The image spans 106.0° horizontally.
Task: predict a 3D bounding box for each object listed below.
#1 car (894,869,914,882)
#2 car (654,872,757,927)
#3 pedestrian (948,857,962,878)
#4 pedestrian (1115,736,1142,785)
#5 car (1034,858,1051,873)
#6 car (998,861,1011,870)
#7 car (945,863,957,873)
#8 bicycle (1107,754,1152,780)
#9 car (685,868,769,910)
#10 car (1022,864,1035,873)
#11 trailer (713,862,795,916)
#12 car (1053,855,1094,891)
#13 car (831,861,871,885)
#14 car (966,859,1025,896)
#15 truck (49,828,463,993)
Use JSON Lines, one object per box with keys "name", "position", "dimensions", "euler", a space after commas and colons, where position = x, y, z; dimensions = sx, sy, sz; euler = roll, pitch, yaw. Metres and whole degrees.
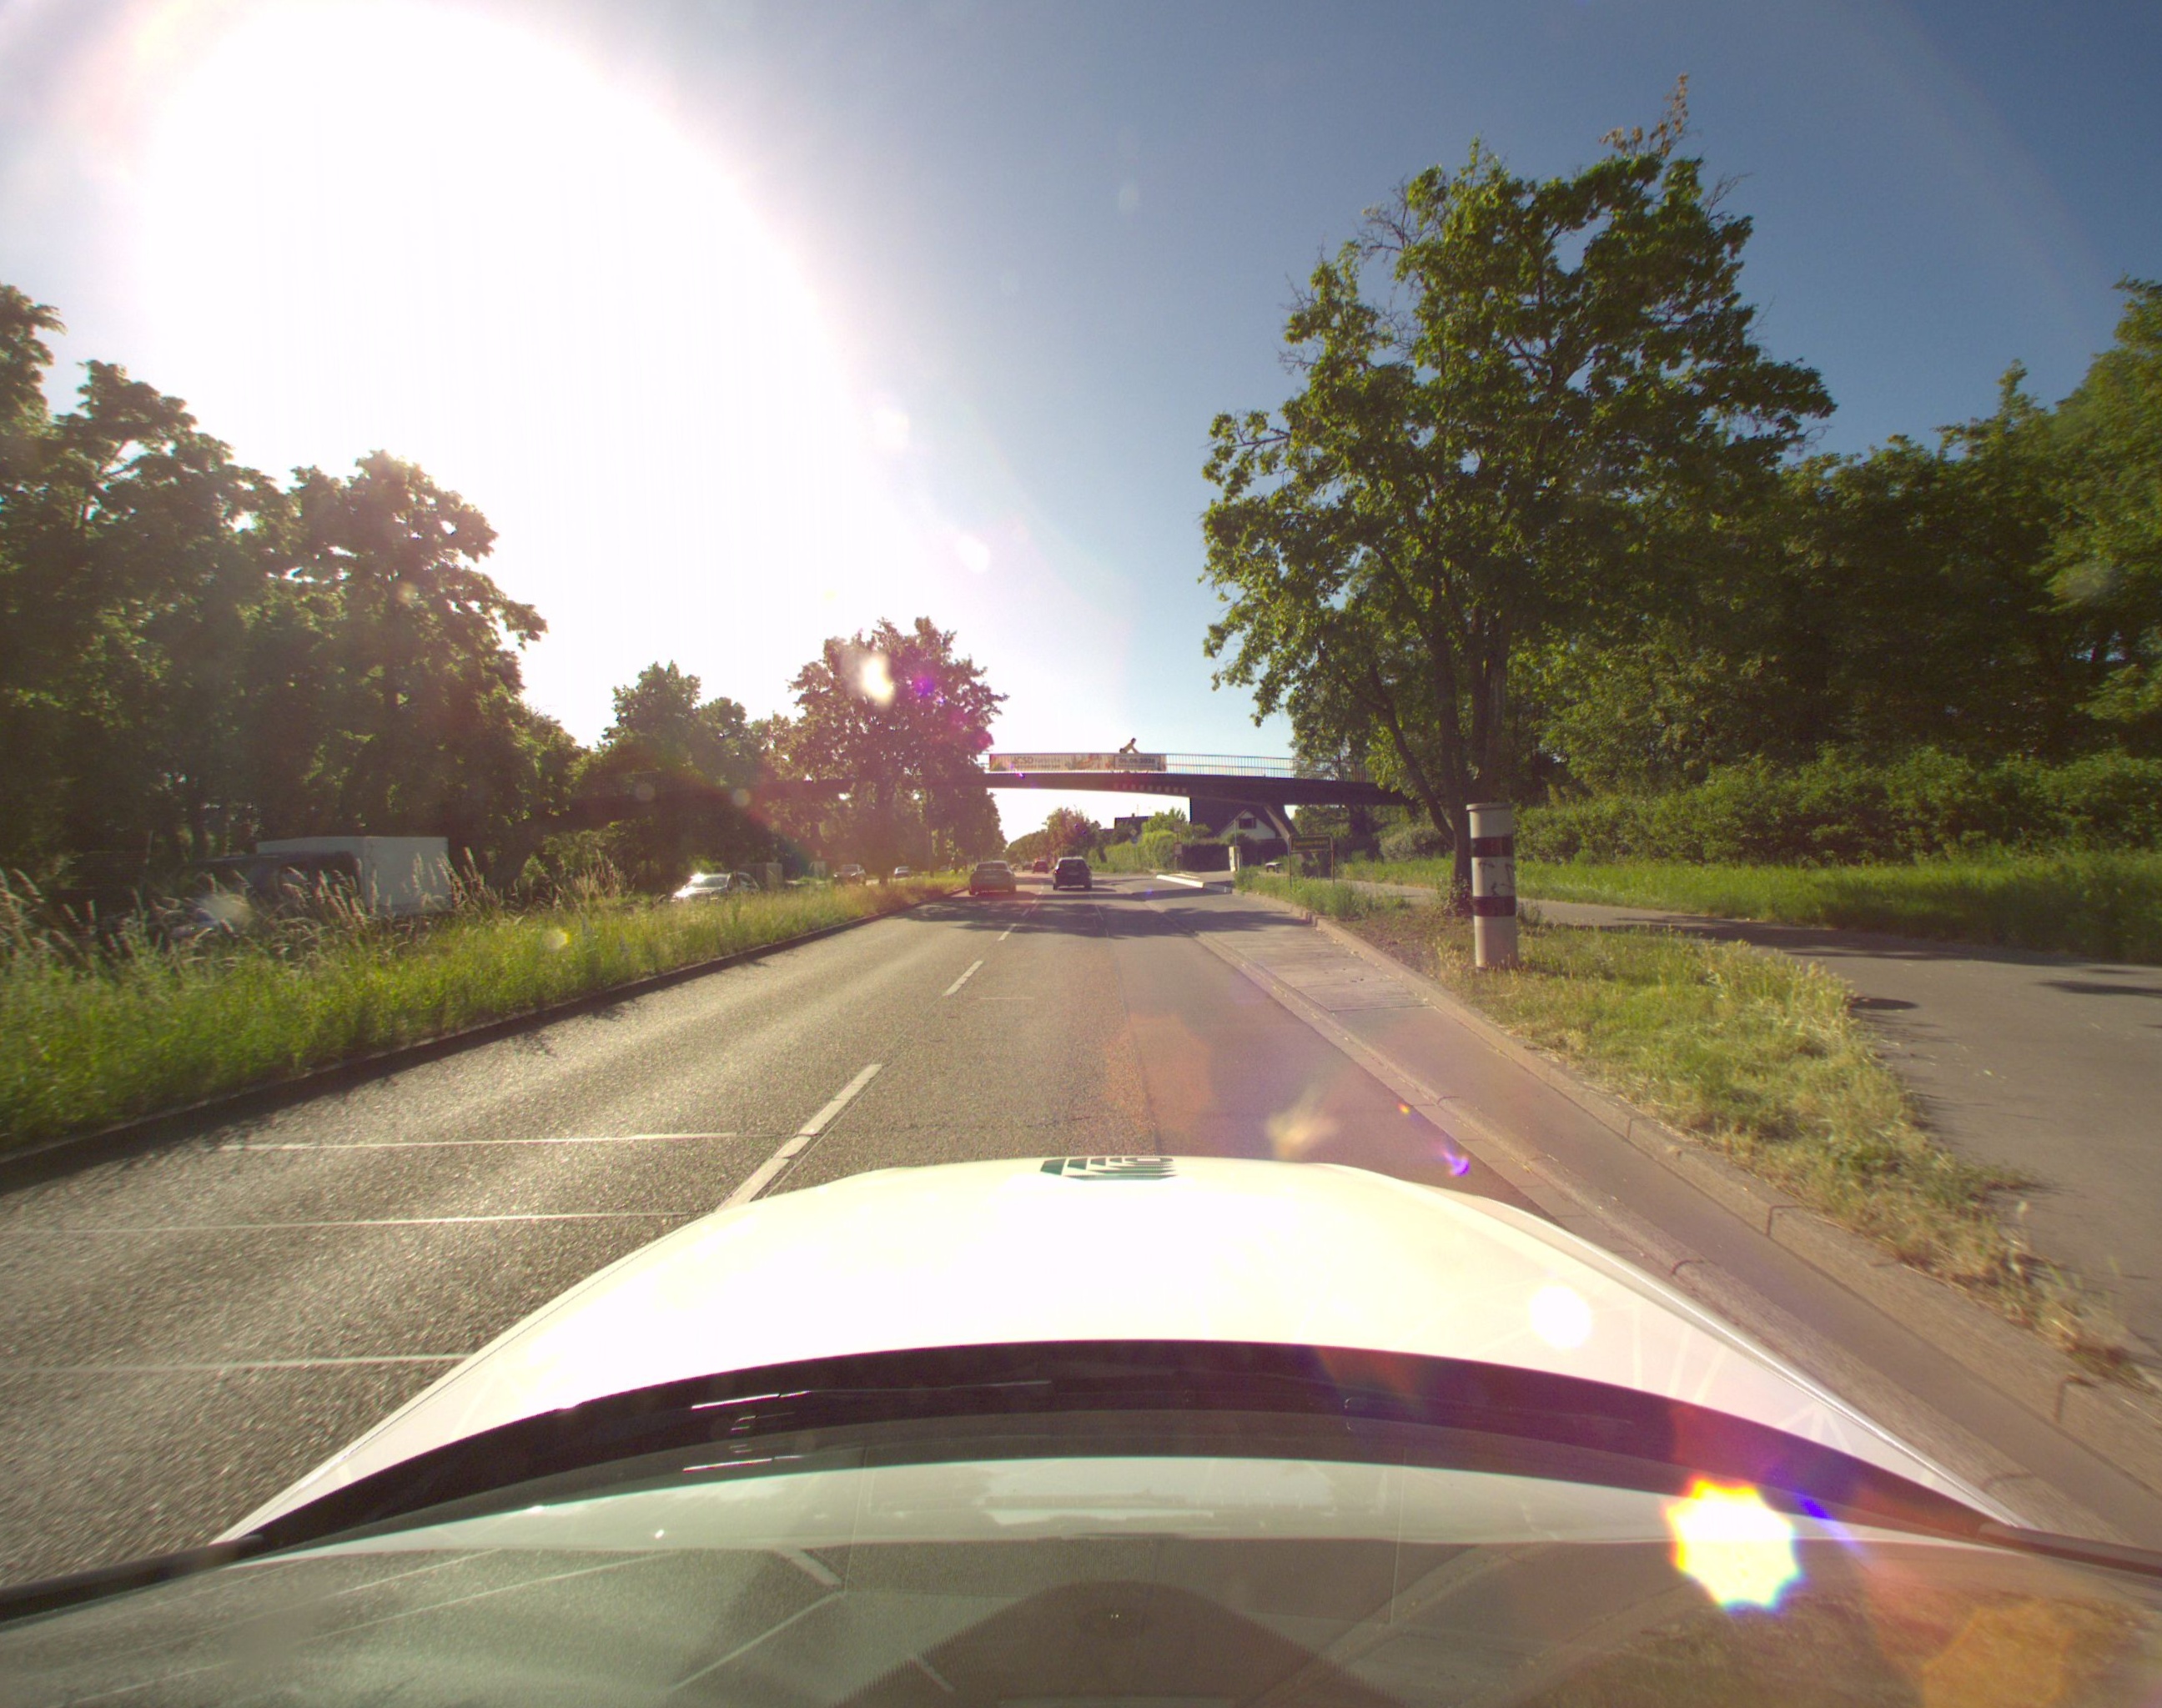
{"name": "car", "position": [-21.080, 2.569, 97.166], "dimensions": [1.536, 1.431, 4.251], "euler": [-4, 0, -3]}
{"name": "car", "position": [-12.971, 1.515, 28.413], "dimensions": [1.690, 1.582, 4.024], "euler": [-2, 1, 0]}
{"name": "pedestrian", "position": [-10.571, 1.127, 68.276], "dimensions": [0.625, 1.696, 0.948], "euler": [-2, -1, 24]}
{"name": "pedestrian", "position": [2.177, -4.291, 37.533], "dimensions": [1.063, 2.124, 0.996], "euler": [-2, 0, -4]}
{"name": "car", "position": [-4.463, 1.312, 93.268], "dimensions": [1.741, 1.597, 4.168], "euler": [-2, 0, -5]}
{"name": "car", "position": [-13.691, 2.035, 145.108], "dimensions": [1.978, 1.440, 3.986], "euler": [-2, 0, -10]}
{"name": "car", "position": [-21.664, 2.299, 135.873], "dimensions": [1.728, 1.632, 4.188], "euler": [-3, 0, -6]}
{"name": "bicycle", "position": [2.214, -3.988, 37.480], "dimensions": [1.984, 1.107, 0.727], "euler": [0, 0, -3]}
{"name": "car", "position": [-16.080, 1.533, 37.238], "dimensions": [1.851, 1.606, 4.366], "euler": [-4, 0, 0]}
{"name": "car", "position": [-8.595, 2.333, 133.097], "dimensions": [1.896, 1.356, 3.992], "euler": [-2, 0, -6]}
{"name": "trailer", "position": [-12.974, 1.330, 32.570], "dimensions": [1.558, 1.910, 4.280], "euler": [-2, 0, -1]}
{"name": "car", "position": [-0.411, 0.863, 37.913], "dimensions": [1.756, 1.559, 3.996], "euler": [0, -1, -2]}
{"name": "car", "position": [-17.515, 1.428, 62.198], "dimensions": [1.727, 1.646, 4.896], "euler": [-4, 0, -2]}
{"name": "car", "position": [-3.613, 0.952, 35.016], "dimensions": [1.988, 1.405, 4.000], "euler": [-2, 0, 1]}
{"name": "truck", "position": [-15.584, 0.922, 16.108], "dimensions": [2.165, 2.512, 5.741], "euler": [-4, 0, 0]}
